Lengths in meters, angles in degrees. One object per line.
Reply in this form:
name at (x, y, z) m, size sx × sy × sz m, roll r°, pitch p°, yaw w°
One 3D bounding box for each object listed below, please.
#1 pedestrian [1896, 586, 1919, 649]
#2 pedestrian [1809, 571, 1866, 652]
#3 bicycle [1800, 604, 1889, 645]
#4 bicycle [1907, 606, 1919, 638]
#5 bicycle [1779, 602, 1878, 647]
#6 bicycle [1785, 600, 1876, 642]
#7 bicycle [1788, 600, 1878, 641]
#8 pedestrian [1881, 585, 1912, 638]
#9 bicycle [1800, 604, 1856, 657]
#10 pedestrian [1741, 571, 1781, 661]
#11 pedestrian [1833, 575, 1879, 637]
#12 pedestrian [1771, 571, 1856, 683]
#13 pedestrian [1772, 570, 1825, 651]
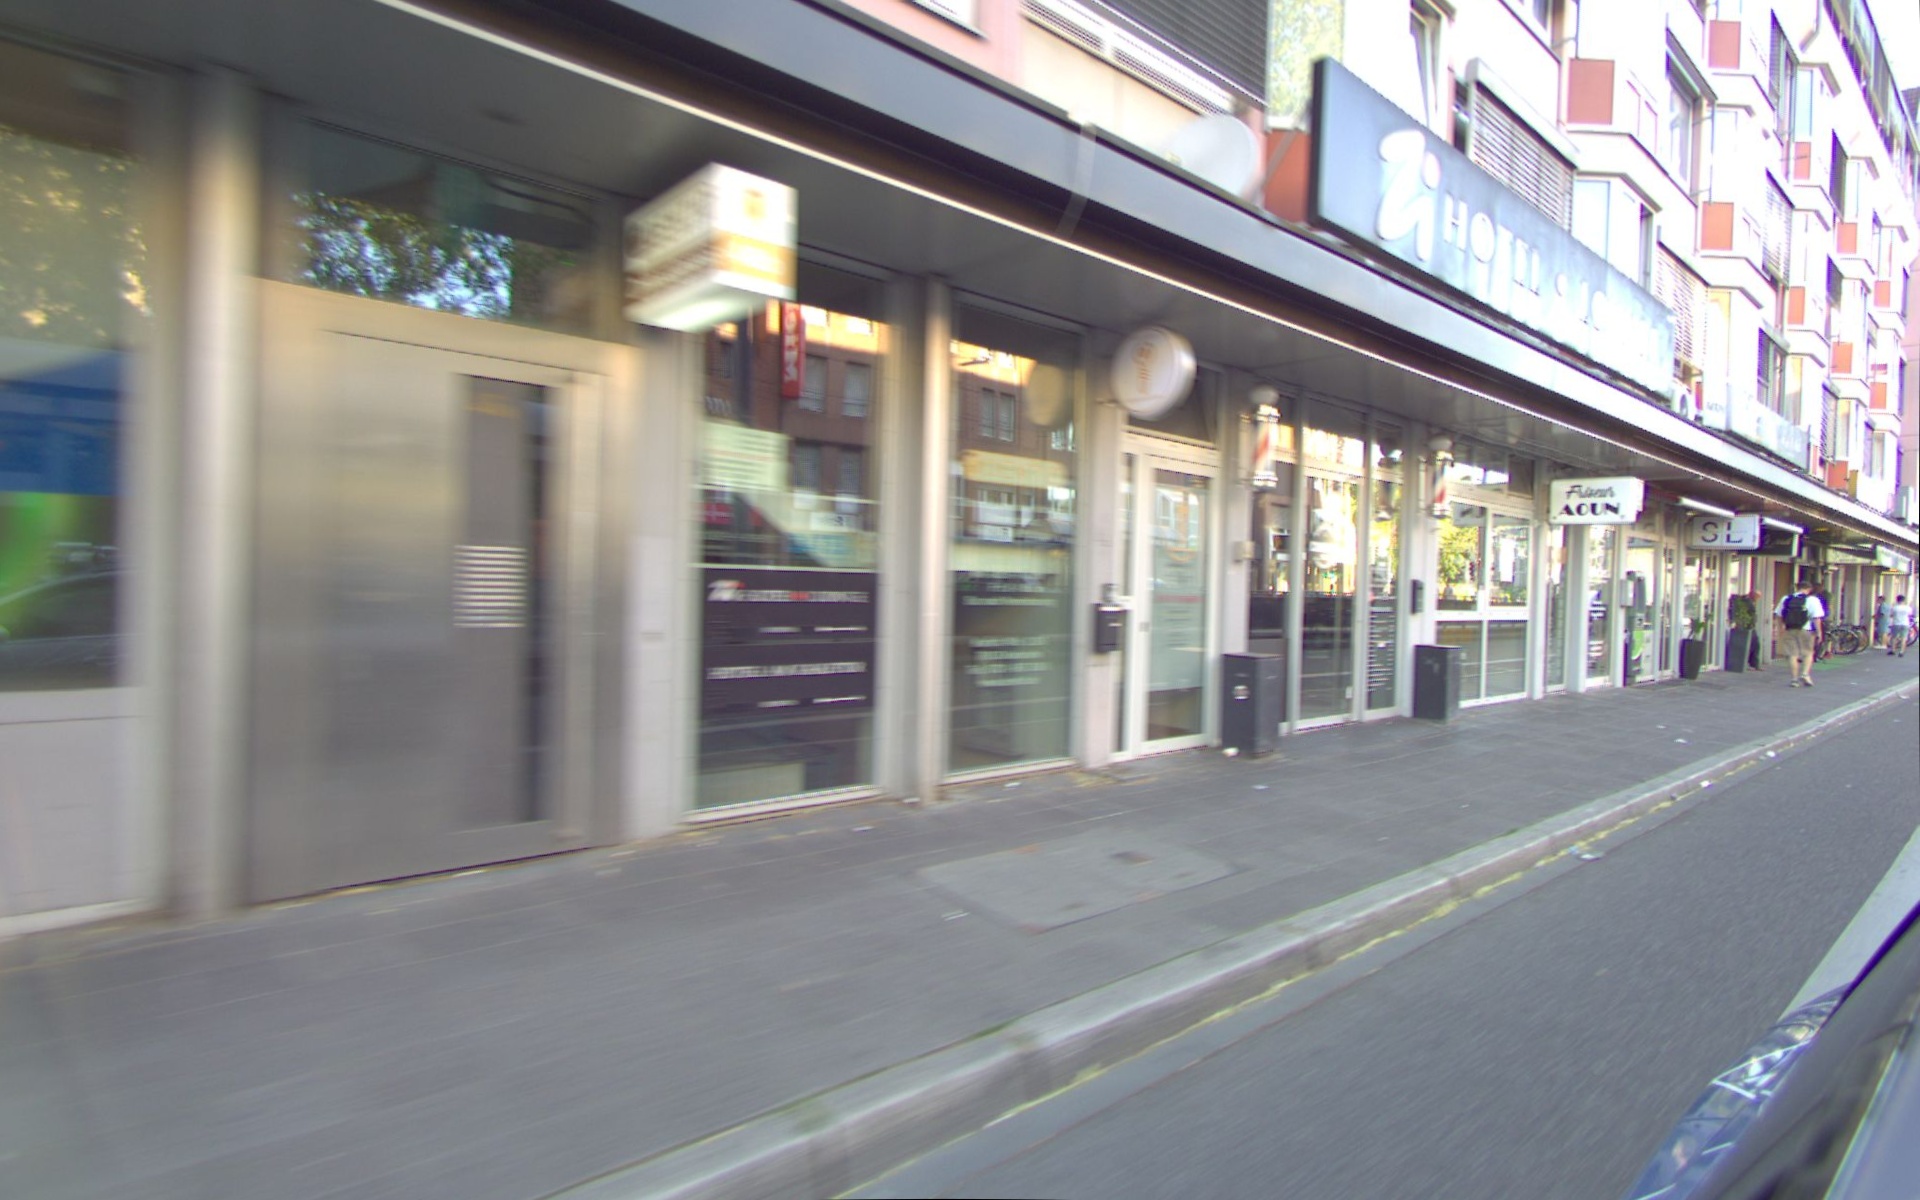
pedestrian at (26.230, 0.480, 27.784) m, size 0.758 × 1.694 × 0.633 m, roll 0°, pitch 2°, yaw -41°
pedestrian at (21.346, 0.272, 24.621) m, size 0.766 × 1.889 × 0.915 m, roll 0°, pitch 3°, yaw -44°
bicycle at (24.501, 0.661, 28.052) m, size 0.496 × 0.985 × 1.737 m, roll 1°, pitch 4°, yaw -36°
bicycle at (32.852, 0.762, 34.511) m, size 1.813 × 0.988 × 0.677 m, roll -1°, pitch 6°, yaw -45°
bicycle at (23.393, 0.639, 27.292) m, size 0.566 × 1.073 × 1.928 m, roll 0°, pitch 3°, yaw -41°
bicycle at (25.448, 0.602, 29.618) m, size 0.567 × 1.073 × 1.927 m, roll 0°, pitch 3°, yaw -43°
bicycle at (25.914, 0.602, 30.072) m, size 0.567 × 1.073 × 1.927 m, roll 0°, pitch 3°, yaw -43°
pedestrian at (29.291, 0.354, 31.664) m, size 0.451 × 1.614 × 0.409 m, roll 2°, pitch 3°, yaw -13°
bicycle at (19.620, 0.667, 22.871) m, size 1.763 × 1.079 × 0.659 m, roll 0°, pitch 6°, yaw -42°
pedestrian at (15.489, 0.290, 19.568) m, size 0.540 × 1.694 × 0.462 m, roll 3°, pitch 2°, yaw 40°
pedestrian at (27.316, 0.175, 30.864) m, size 0.721 × 1.839 × 0.804 m, roll 1°, pitch 0°, yaw 12°
pedestrian at (14.134, 0.411, 16.757) m, size 1.042 × 1.743 × 0.800 m, roll 0°, pitch 4°, yaw -40°
pedestrian at (20.289, 0.244, 24.512) m, size 0.773 × 1.889 × 0.680 m, roll 3°, pitch 3°, yaw 29°
